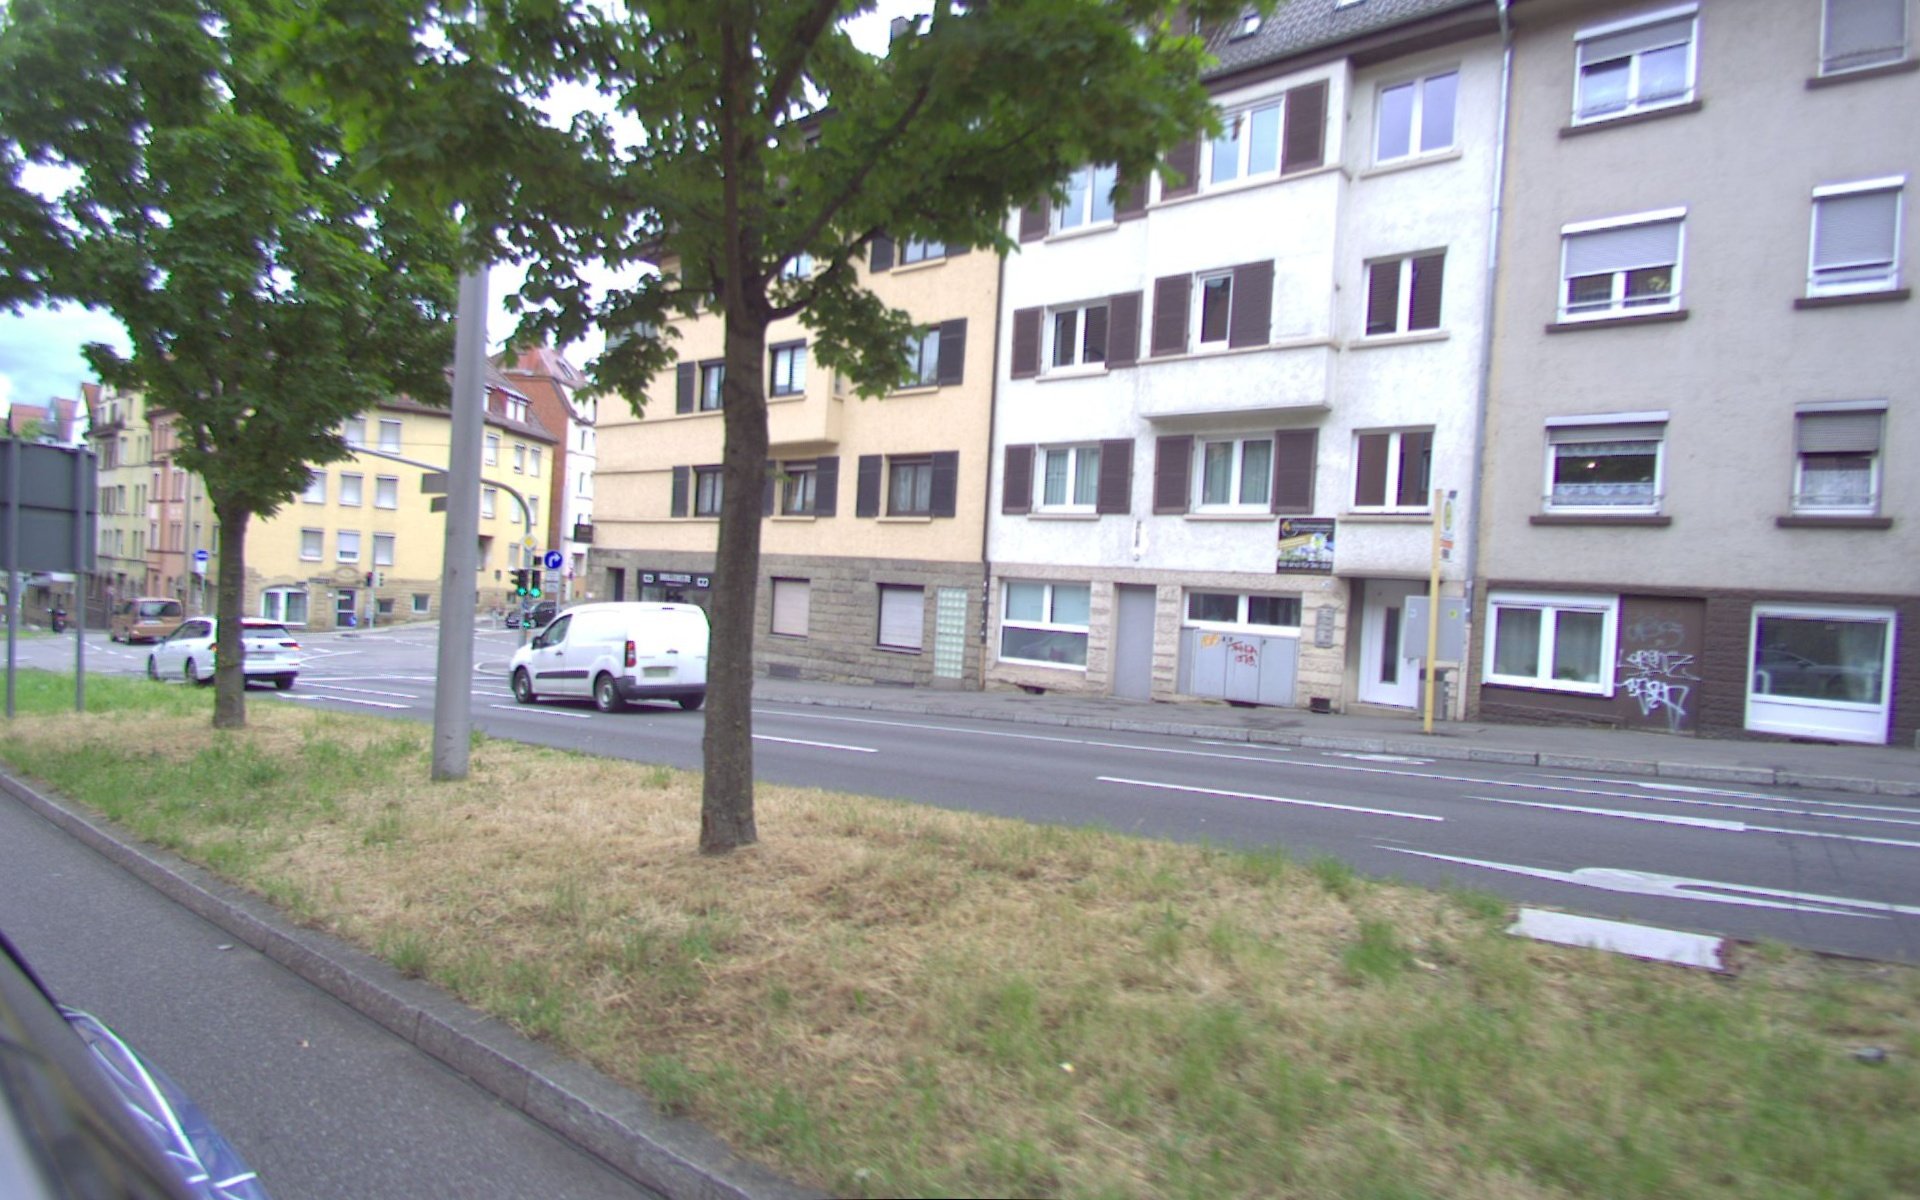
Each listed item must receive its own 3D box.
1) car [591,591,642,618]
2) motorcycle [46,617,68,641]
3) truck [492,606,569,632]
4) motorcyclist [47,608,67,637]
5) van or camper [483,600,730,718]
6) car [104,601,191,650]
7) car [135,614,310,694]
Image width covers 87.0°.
[{"bbox_3d":[-23.623,0.329,69.782,1.840,1.734,3.848,1,-2,6],"label":"car"},{"bbox_3d":[-47.144,1.487,52.843,2.204,1.193,0.539,1,-1,41],"label":"motorcycle"},{"bbox_3d":[-24.085,1.048,56.910,1.837,1.429,3.977,0,-1,17],"label":"truck"},{"bbox_3d":[-47.246,1.163,52.967,0.661,1.486,0.666,0,-1,40],"label":"motorcyclist"},{"bbox_3d":[-6.204,0.930,17.528,4.650,1.775,1.889,0,-2,39],"label":"van or camper"},{"bbox_3d":[-32.019,1.031,39.840,4.347,1.830,1.860,-3,-3,40],"label":"car"},{"bbox_3d":[-15.292,1.046,20.900,4.580,1.478,1.729,0,-2,39],"label":"car"}]
